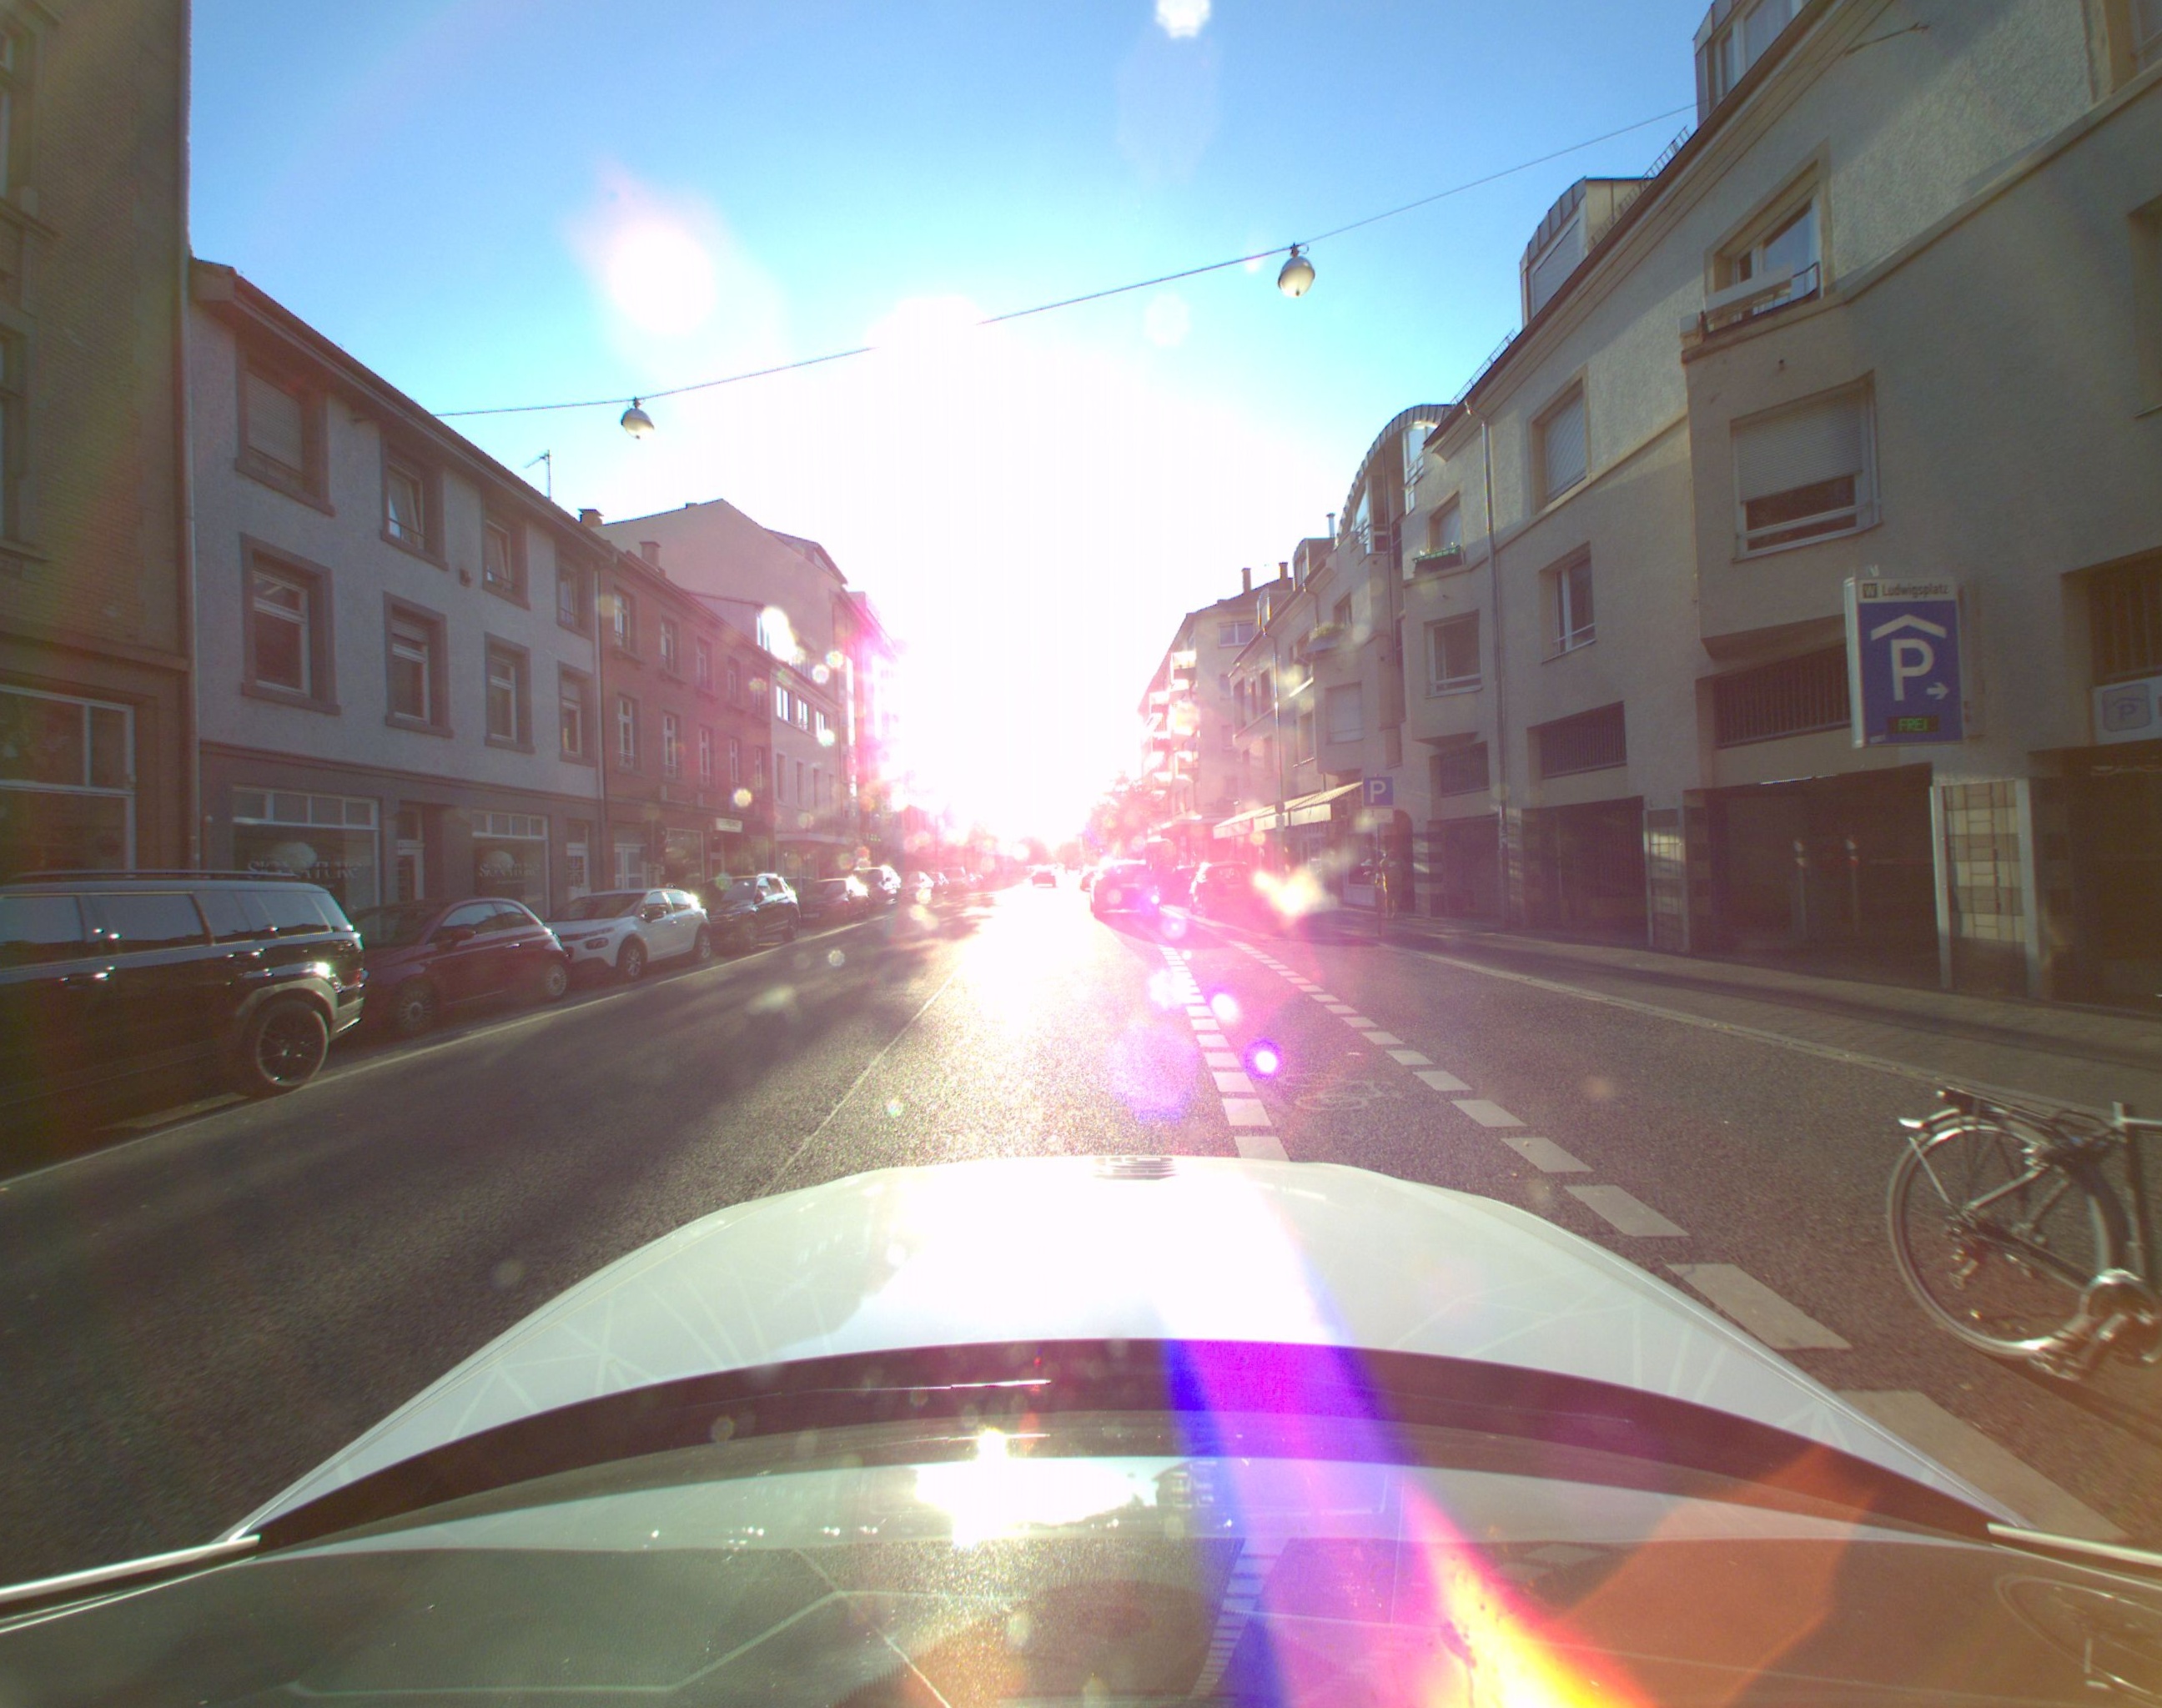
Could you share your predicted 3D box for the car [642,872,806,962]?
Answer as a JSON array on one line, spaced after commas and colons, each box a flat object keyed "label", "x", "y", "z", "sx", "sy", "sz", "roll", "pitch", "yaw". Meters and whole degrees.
[{"label": "car", "x": -7.803, "y": 1.294, "z": 18.285, "sx": 1.769, "sy": 1.633, "sz": 4.236, "roll": -4, "pitch": 0, "yaw": -1}]

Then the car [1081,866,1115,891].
[{"label": "car", "x": 0.989, "y": 1.443, "z": 49.658, "sx": 1.916, "sy": 1.415, "sz": 4.545, "roll": 0, "pitch": -1, "yaw": -1}]

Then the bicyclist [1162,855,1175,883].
[{"label": "bicyclist", "x": 5.502, "y": 0.947, "z": 51.174, "sx": 0.648, "sy": 1.702, "sz": 1.095, "roll": -2, "pitch": -1, "yaw": -1}]

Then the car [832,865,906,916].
[{"label": "car", "x": -8.573, "y": 1.419, "z": 33.399, "sx": 1.823, "sy": 1.810, "sz": 5.342, "roll": -3, "pitch": -1, "yaw": -3}]

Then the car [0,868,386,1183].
[{"label": "car", "x": -6.962, "y": 1.004, "z": 4.850, "sx": 1.902, "sy": 1.728, "sz": 4.692, "roll": -3, "pitch": -1, "yaw": -6}]

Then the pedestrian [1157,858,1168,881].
[{"label": "pedestrian", "x": 6.047, "y": 1.147, "z": 60.262, "sx": 0.685, "sy": 1.721, "sz": 0.717, "roll": -3, "pitch": -1, "yaw": 4}]

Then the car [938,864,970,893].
[{"label": "car", "x": -8.621, "y": 1.620, "z": 55.556, "sx": 1.830, "sy": 1.854, "sz": 4.116, "roll": -2, "pitch": -1, "yaw": -5}]

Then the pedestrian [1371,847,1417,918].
[{"label": "pedestrian", "x": 7.511, "y": 0.684, "z": 19.557, "sx": 0.806, "sy": 1.646, "sz": 0.607, "roll": -4, "pitch": -2, "yaw": 5}]

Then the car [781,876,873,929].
[{"label": "car", "x": -8.301, "y": 1.554, "z": 27.038, "sx": 1.708, "sy": 1.440, "sz": 4.307, "roll": -3, "pitch": -1, "yaw": -1}]

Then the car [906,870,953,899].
[{"label": "car", "x": -8.517, "y": 1.672, "z": 46.171, "sx": 1.822, "sy": 1.439, "sz": 4.550, "roll": -4, "pitch": -1, "yaw": -1}]

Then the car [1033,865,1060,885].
[{"label": "car", "x": -2.586, "y": 1.589, "z": 62.108, "sx": 1.878, "sy": 1.415, "sz": 4.322, "roll": -1, "pitch": -1, "yaw": -1}]

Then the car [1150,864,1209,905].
[{"label": "car", "x": 3.663, "y": 1.112, "z": 30.962, "sx": 1.629, "sy": 1.424, "sz": 3.754, "roll": -2, "pitch": -1, "yaw": -2}]

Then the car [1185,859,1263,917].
[{"label": "car", "x": 4.164, "y": 0.965, "z": 24.109, "sx": 1.630, "sy": 1.553, "sz": 2.690, "roll": -3, "pitch": -1, "yaw": -4}]

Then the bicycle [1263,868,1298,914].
[{"label": "bicycle", "x": 5.732, "y": 1.047, "z": 23.449, "sx": 0.396, "sy": 1.234, "sz": 1.823, "roll": -3, "pitch": -1, "yaw": -4}]

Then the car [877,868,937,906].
[{"label": "car", "x": -8.485, "y": 1.571, "z": 40.157, "sx": 1.822, "sy": 1.556, "sz": 5.133, "roll": -4, "pitch": -1, "yaw": -1}]

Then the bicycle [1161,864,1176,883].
[{"label": "bicycle", "x": 5.498, "y": 1.215, "z": 51.230, "sx": 0.648, "sy": 1.155, "sz": 1.931, "roll": -2, "pitch": -1, "yaw": -1}]

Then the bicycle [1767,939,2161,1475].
[{"label": "bicycle", "x": 2.744, "y": 0.887, "z": 2.317, "sx": 0.360, "sy": 1.141, "sz": 1.568, "roll": -2, "pitch": -1, "yaw": 7}]

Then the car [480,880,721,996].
[{"label": "car", "x": -7.969, "y": 1.303, "z": 14.011, "sx": 1.769, "sy": 1.515, "sz": 3.948, "roll": -3, "pitch": -1, "yaw": -1}]

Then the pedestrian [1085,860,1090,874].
[{"label": "pedestrian", "x": 0.853, "y": 1.627, "z": 102.888, "sx": 0.497, "sy": 1.715, "sz": 0.459, "roll": -2, "pitch": 0, "yaw": -22}]

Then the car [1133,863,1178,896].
[{"label": "car", "x": 3.469, "y": 1.170, "z": 38.578, "sx": 1.698, "sy": 1.436, "sz": 3.929, "roll": -2, "pitch": -1, "yaw": -1}]

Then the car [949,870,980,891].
[{"label": "car", "x": -8.745, "y": 1.959, "z": 61.574, "sx": 1.829, "sy": 1.328, "sz": 4.120, "roll": -3, "pitch": 0, "yaw": -3}]

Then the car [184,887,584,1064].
[{"label": "car", "x": -8.035, "y": 1.283, "z": 9.893, "sx": 1.769, "sy": 1.515, "sz": 3.482, "roll": -5, "pitch": -1, "yaw": -1}]

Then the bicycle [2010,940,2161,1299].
[{"label": "bicycle", "x": 3.605, "y": 0.880, "z": 2.315, "sx": 0.369, "sy": 1.108, "sz": 1.527, "roll": -2, "pitch": -1, "yaw": 10}]

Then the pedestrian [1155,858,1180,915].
[{"label": "pedestrian", "x": 2.622, "y": 0.974, "z": 24.660, "sx": 0.444, "sy": 1.665, "sz": 0.560, "roll": -2, "pitch": -1, "yaw": -27}]

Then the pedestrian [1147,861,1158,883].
[{"label": "pedestrian", "x": 5.284, "y": 1.335, "z": 60.429, "sx": 0.686, "sy": 1.559, "sz": 0.862, "roll": -2, "pitch": -1, "yaw": -1}]

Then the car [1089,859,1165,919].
[{"label": "car", "x": 1.308, "y": 1.001, "z": 25.073, "sx": 1.989, "sy": 1.655, "sz": 4.671, "roll": 0, "pitch": -1, "yaw": -1}]
